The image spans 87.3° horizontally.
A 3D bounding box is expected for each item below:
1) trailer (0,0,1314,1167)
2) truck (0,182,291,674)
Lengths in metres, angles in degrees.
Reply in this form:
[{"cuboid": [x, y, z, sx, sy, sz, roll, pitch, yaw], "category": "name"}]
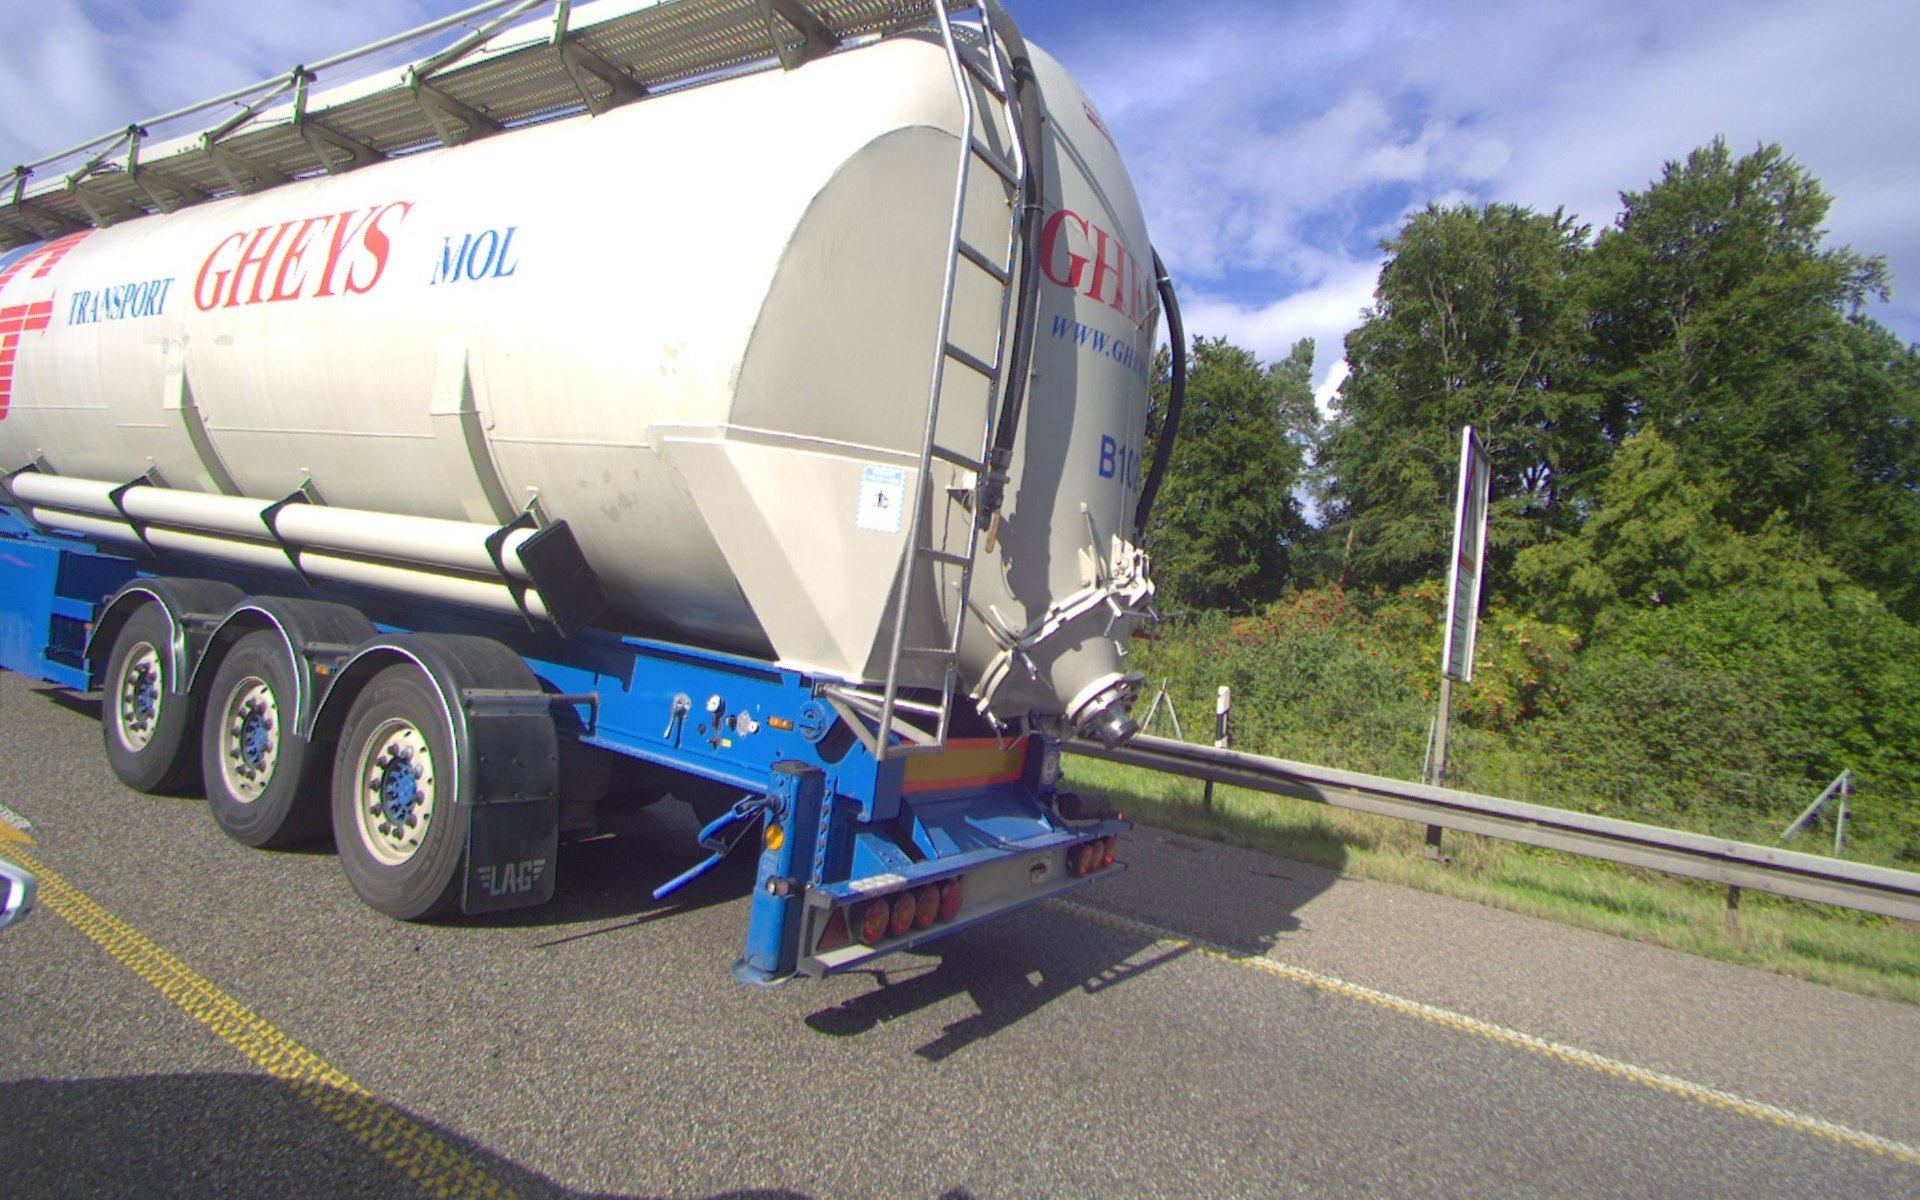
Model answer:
[{"cuboid": [-4.444, -1.028, 6.970, 12.390, 3.989, 2.649, 7, -1, 32], "category": "trailer"}, {"cuboid": [-10.135, -1.636, 10.606, 5.684, 4.018, 2.663, 6, -1, 32], "category": "truck"}]
